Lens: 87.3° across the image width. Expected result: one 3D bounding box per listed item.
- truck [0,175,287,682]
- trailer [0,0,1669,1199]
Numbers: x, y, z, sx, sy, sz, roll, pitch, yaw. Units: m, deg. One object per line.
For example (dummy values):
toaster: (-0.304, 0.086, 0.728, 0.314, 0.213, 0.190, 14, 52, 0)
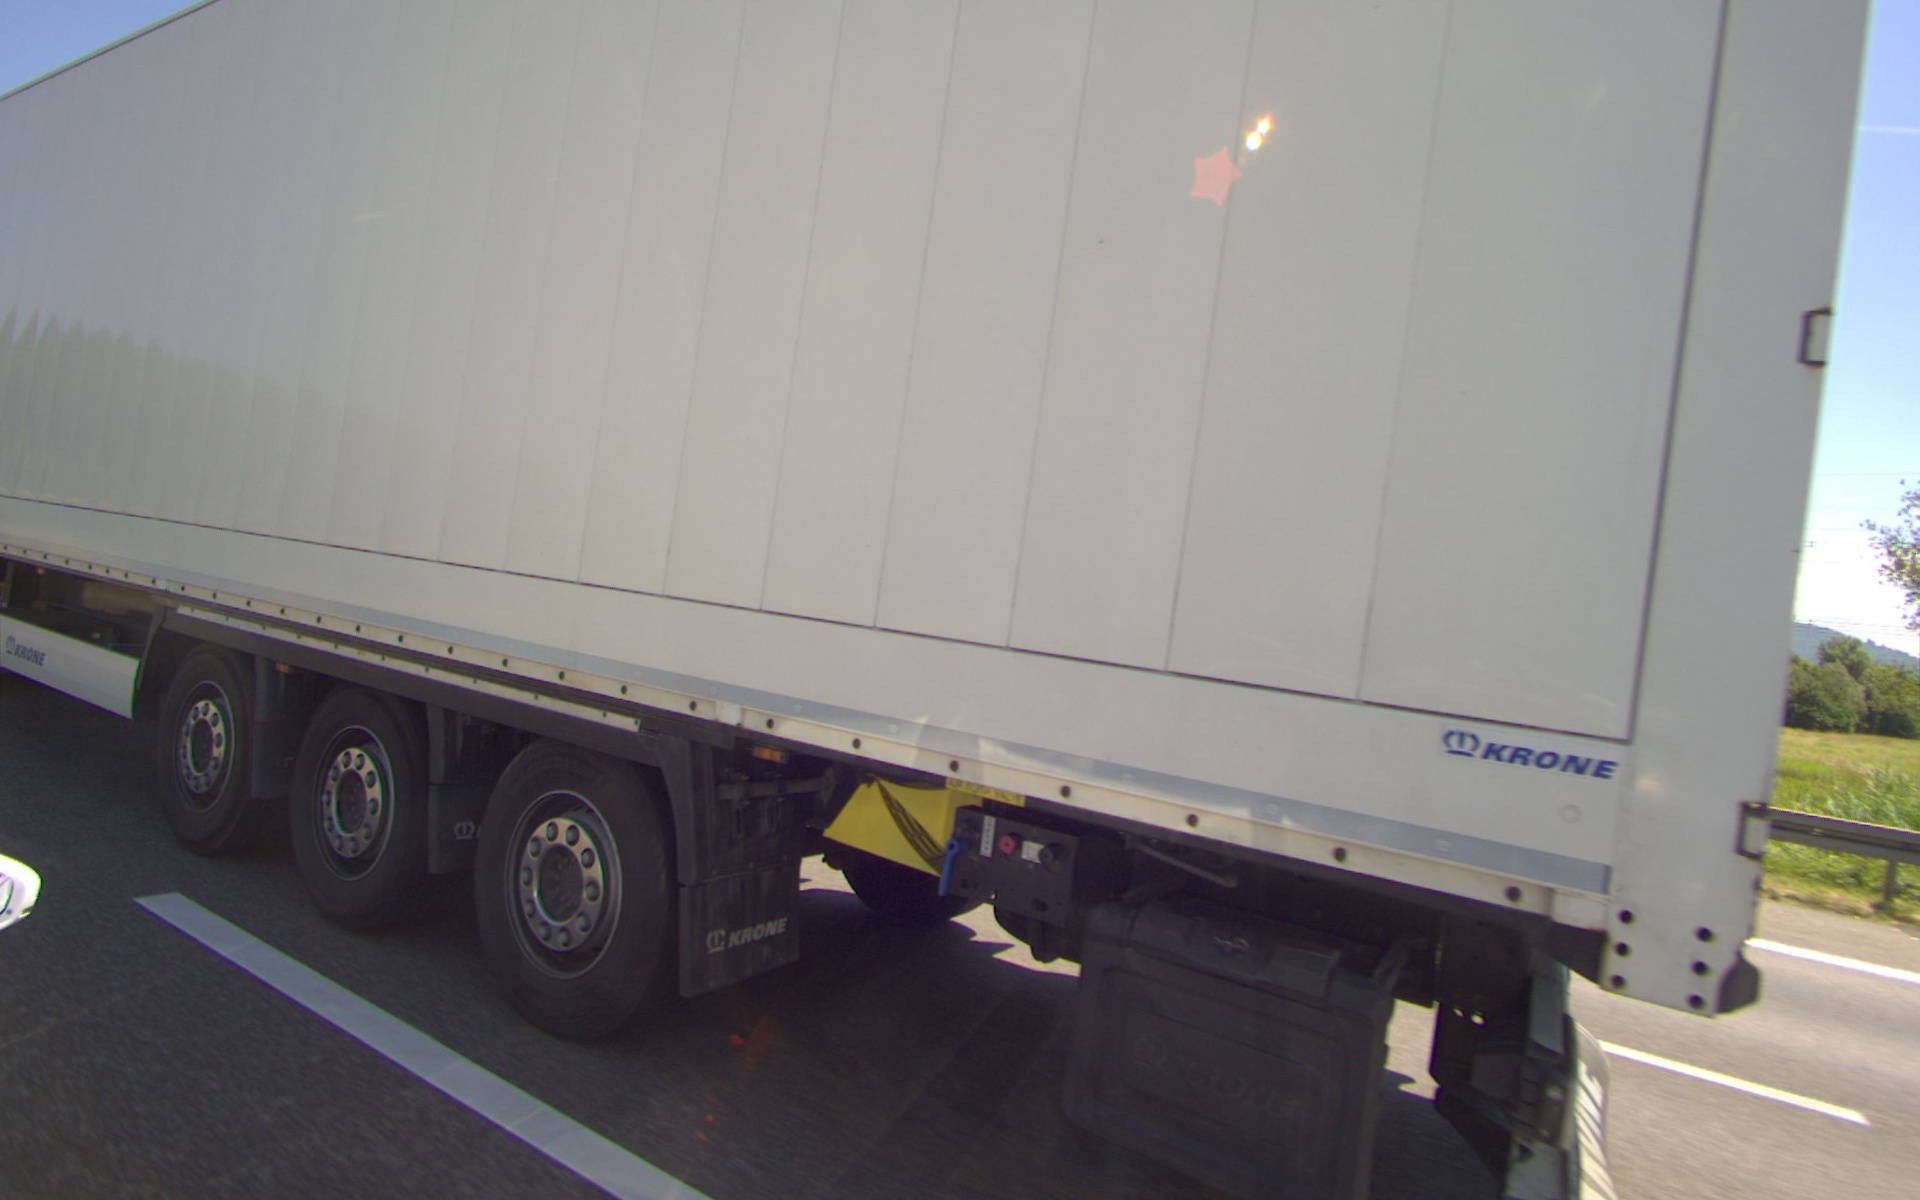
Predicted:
truck: (-10.089, -1.626, 10.299, 5.921, 4.055, 2.804, 7, -1, 32)
trailer: (-3.421, -0.870, 6.086, 12.360, 4.083, 2.799, 7, -1, 32)
